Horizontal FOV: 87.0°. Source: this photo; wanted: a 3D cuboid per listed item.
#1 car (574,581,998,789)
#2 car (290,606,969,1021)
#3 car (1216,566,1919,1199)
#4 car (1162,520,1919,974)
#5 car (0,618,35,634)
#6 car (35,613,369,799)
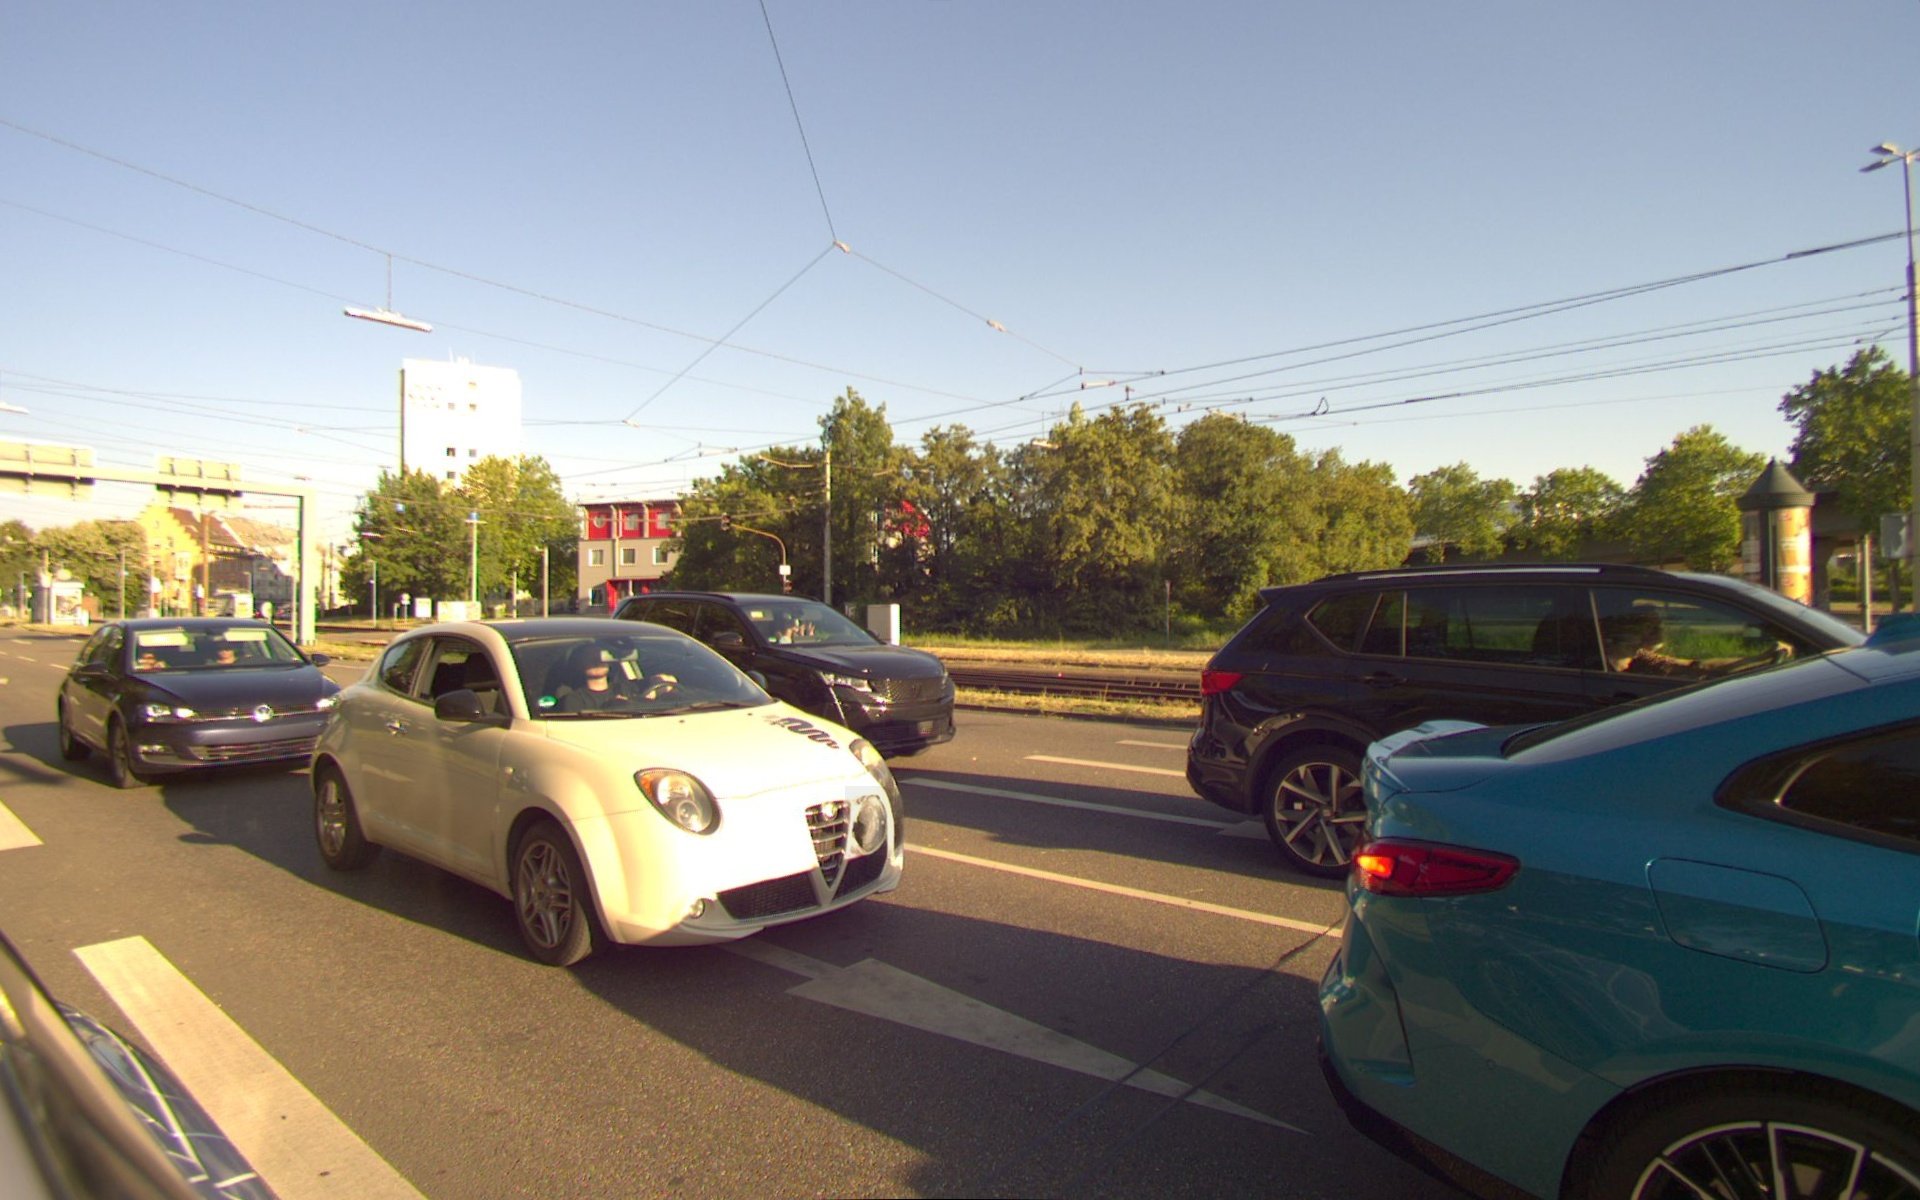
[{"bbox_3d":[-1.971,0.715,10.370,4.601,1.661,1.894,-1,-1,43],"label":"car"},{"bbox_3d":[-1.981,0.772,5.422,3.921,1.441,1.644,-1,-1,40],"label":"car"},{"bbox_3d":[2.863,0.651,1.484,4.507,1.428,1.767,-1,-1,39],"label":"car"},{"bbox_3d":[3.526,0.564,5.072,4.598,1.694,1.896,-1,-1,40],"label":"car"},{"bbox_3d":[-118.189,3.245,126.807,1.965,1.831,4.013,-1,0,-19],"label":"car"},{"bbox_3d":[-7.465,0.859,9.839,3.921,1.441,1.759,-1,-1,40],"label":"car"}]
